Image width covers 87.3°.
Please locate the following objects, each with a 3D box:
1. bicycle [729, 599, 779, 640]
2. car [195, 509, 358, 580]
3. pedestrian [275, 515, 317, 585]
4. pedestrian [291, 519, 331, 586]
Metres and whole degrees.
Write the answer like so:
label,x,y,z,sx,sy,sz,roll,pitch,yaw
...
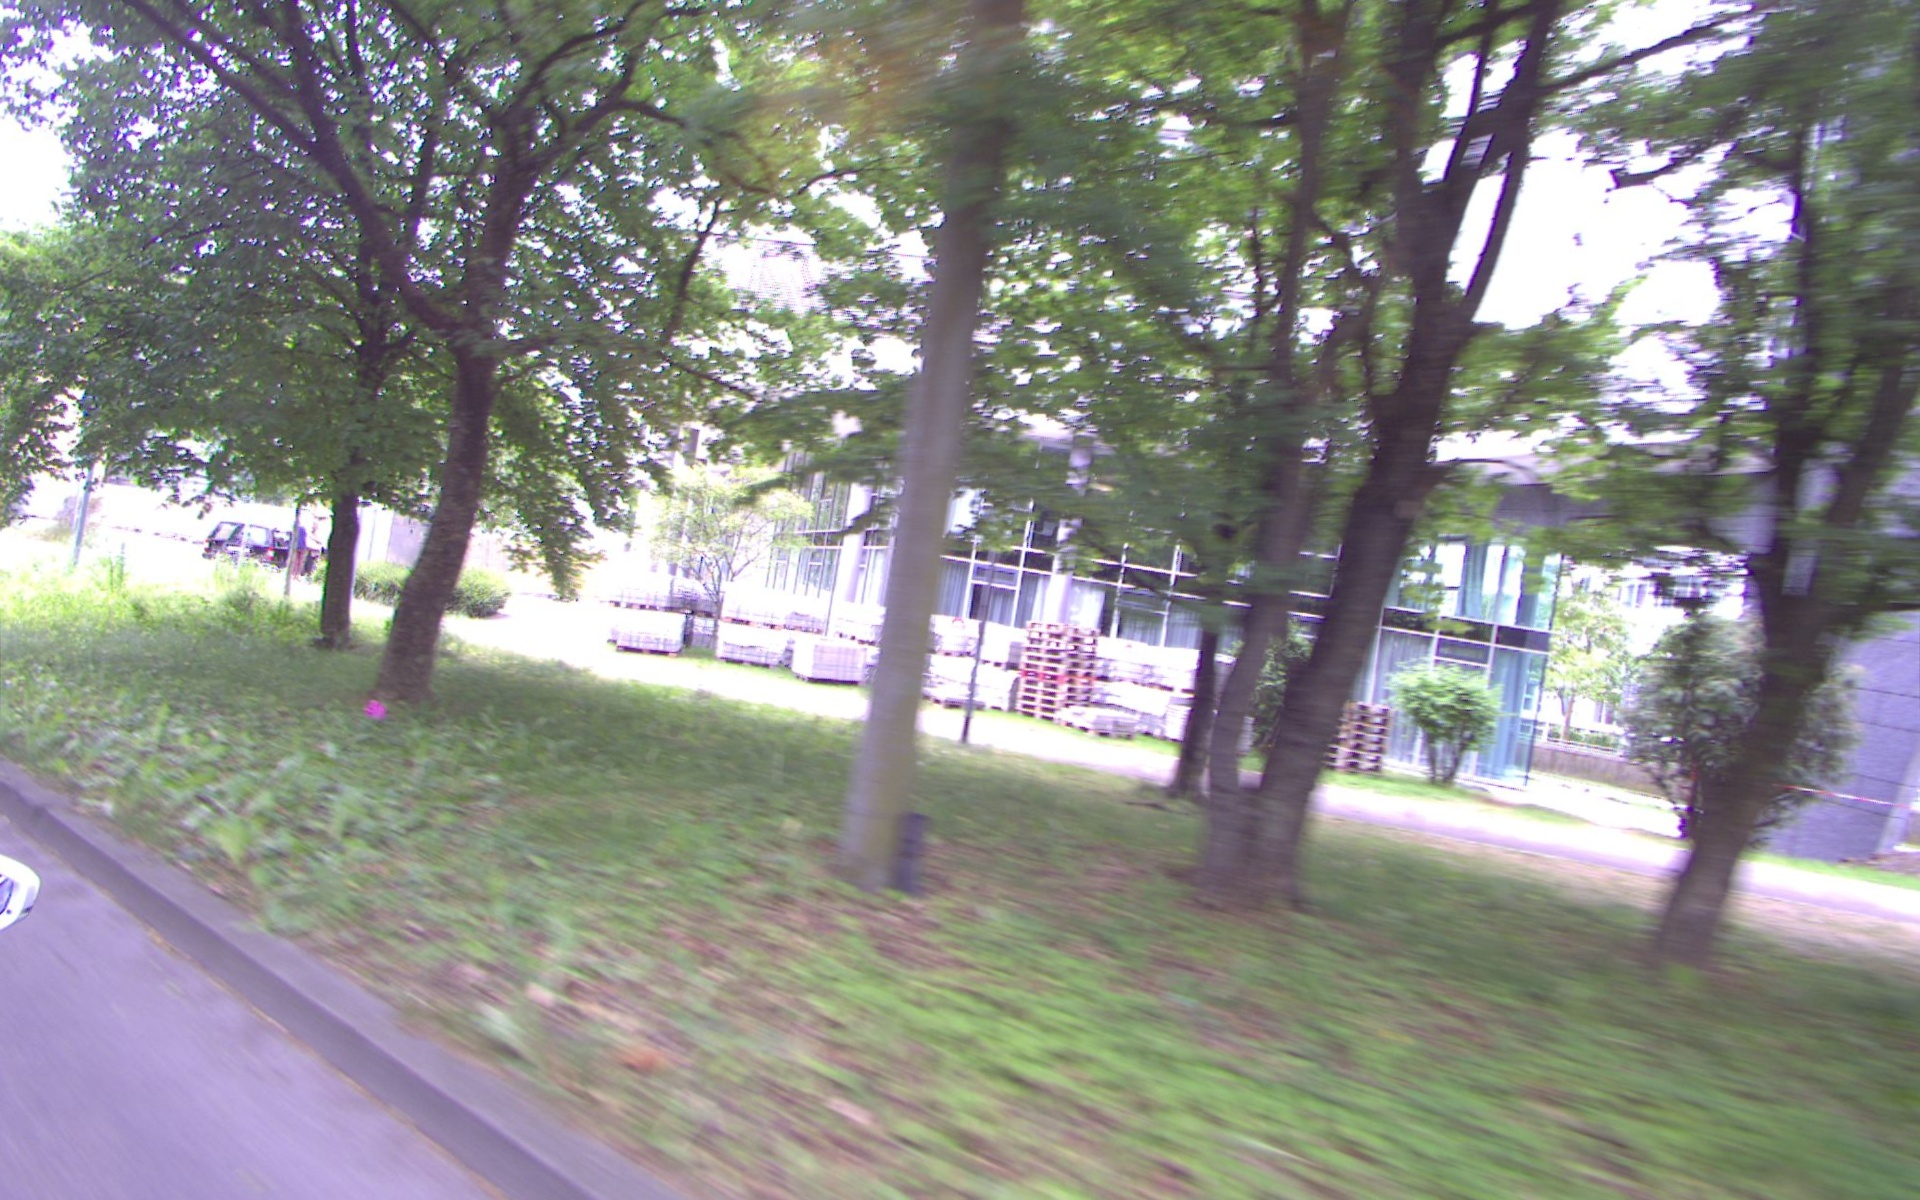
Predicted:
label,x,y,z,sx,sy,sz,roll,pitch,yaw
bicycle,-6.525,0.622,31.930,1.385,1.084,0.390,10,-2,-27
car,-19.034,-1.470,28.317,1.840,1.535,4.734,7,-1,-10
pedestrian,-17.697,-1.328,26.817,0.573,1.777,0.474,10,3,4
pedestrian,-17.750,-1.288,27.522,0.526,1.747,0.498,10,3,4
